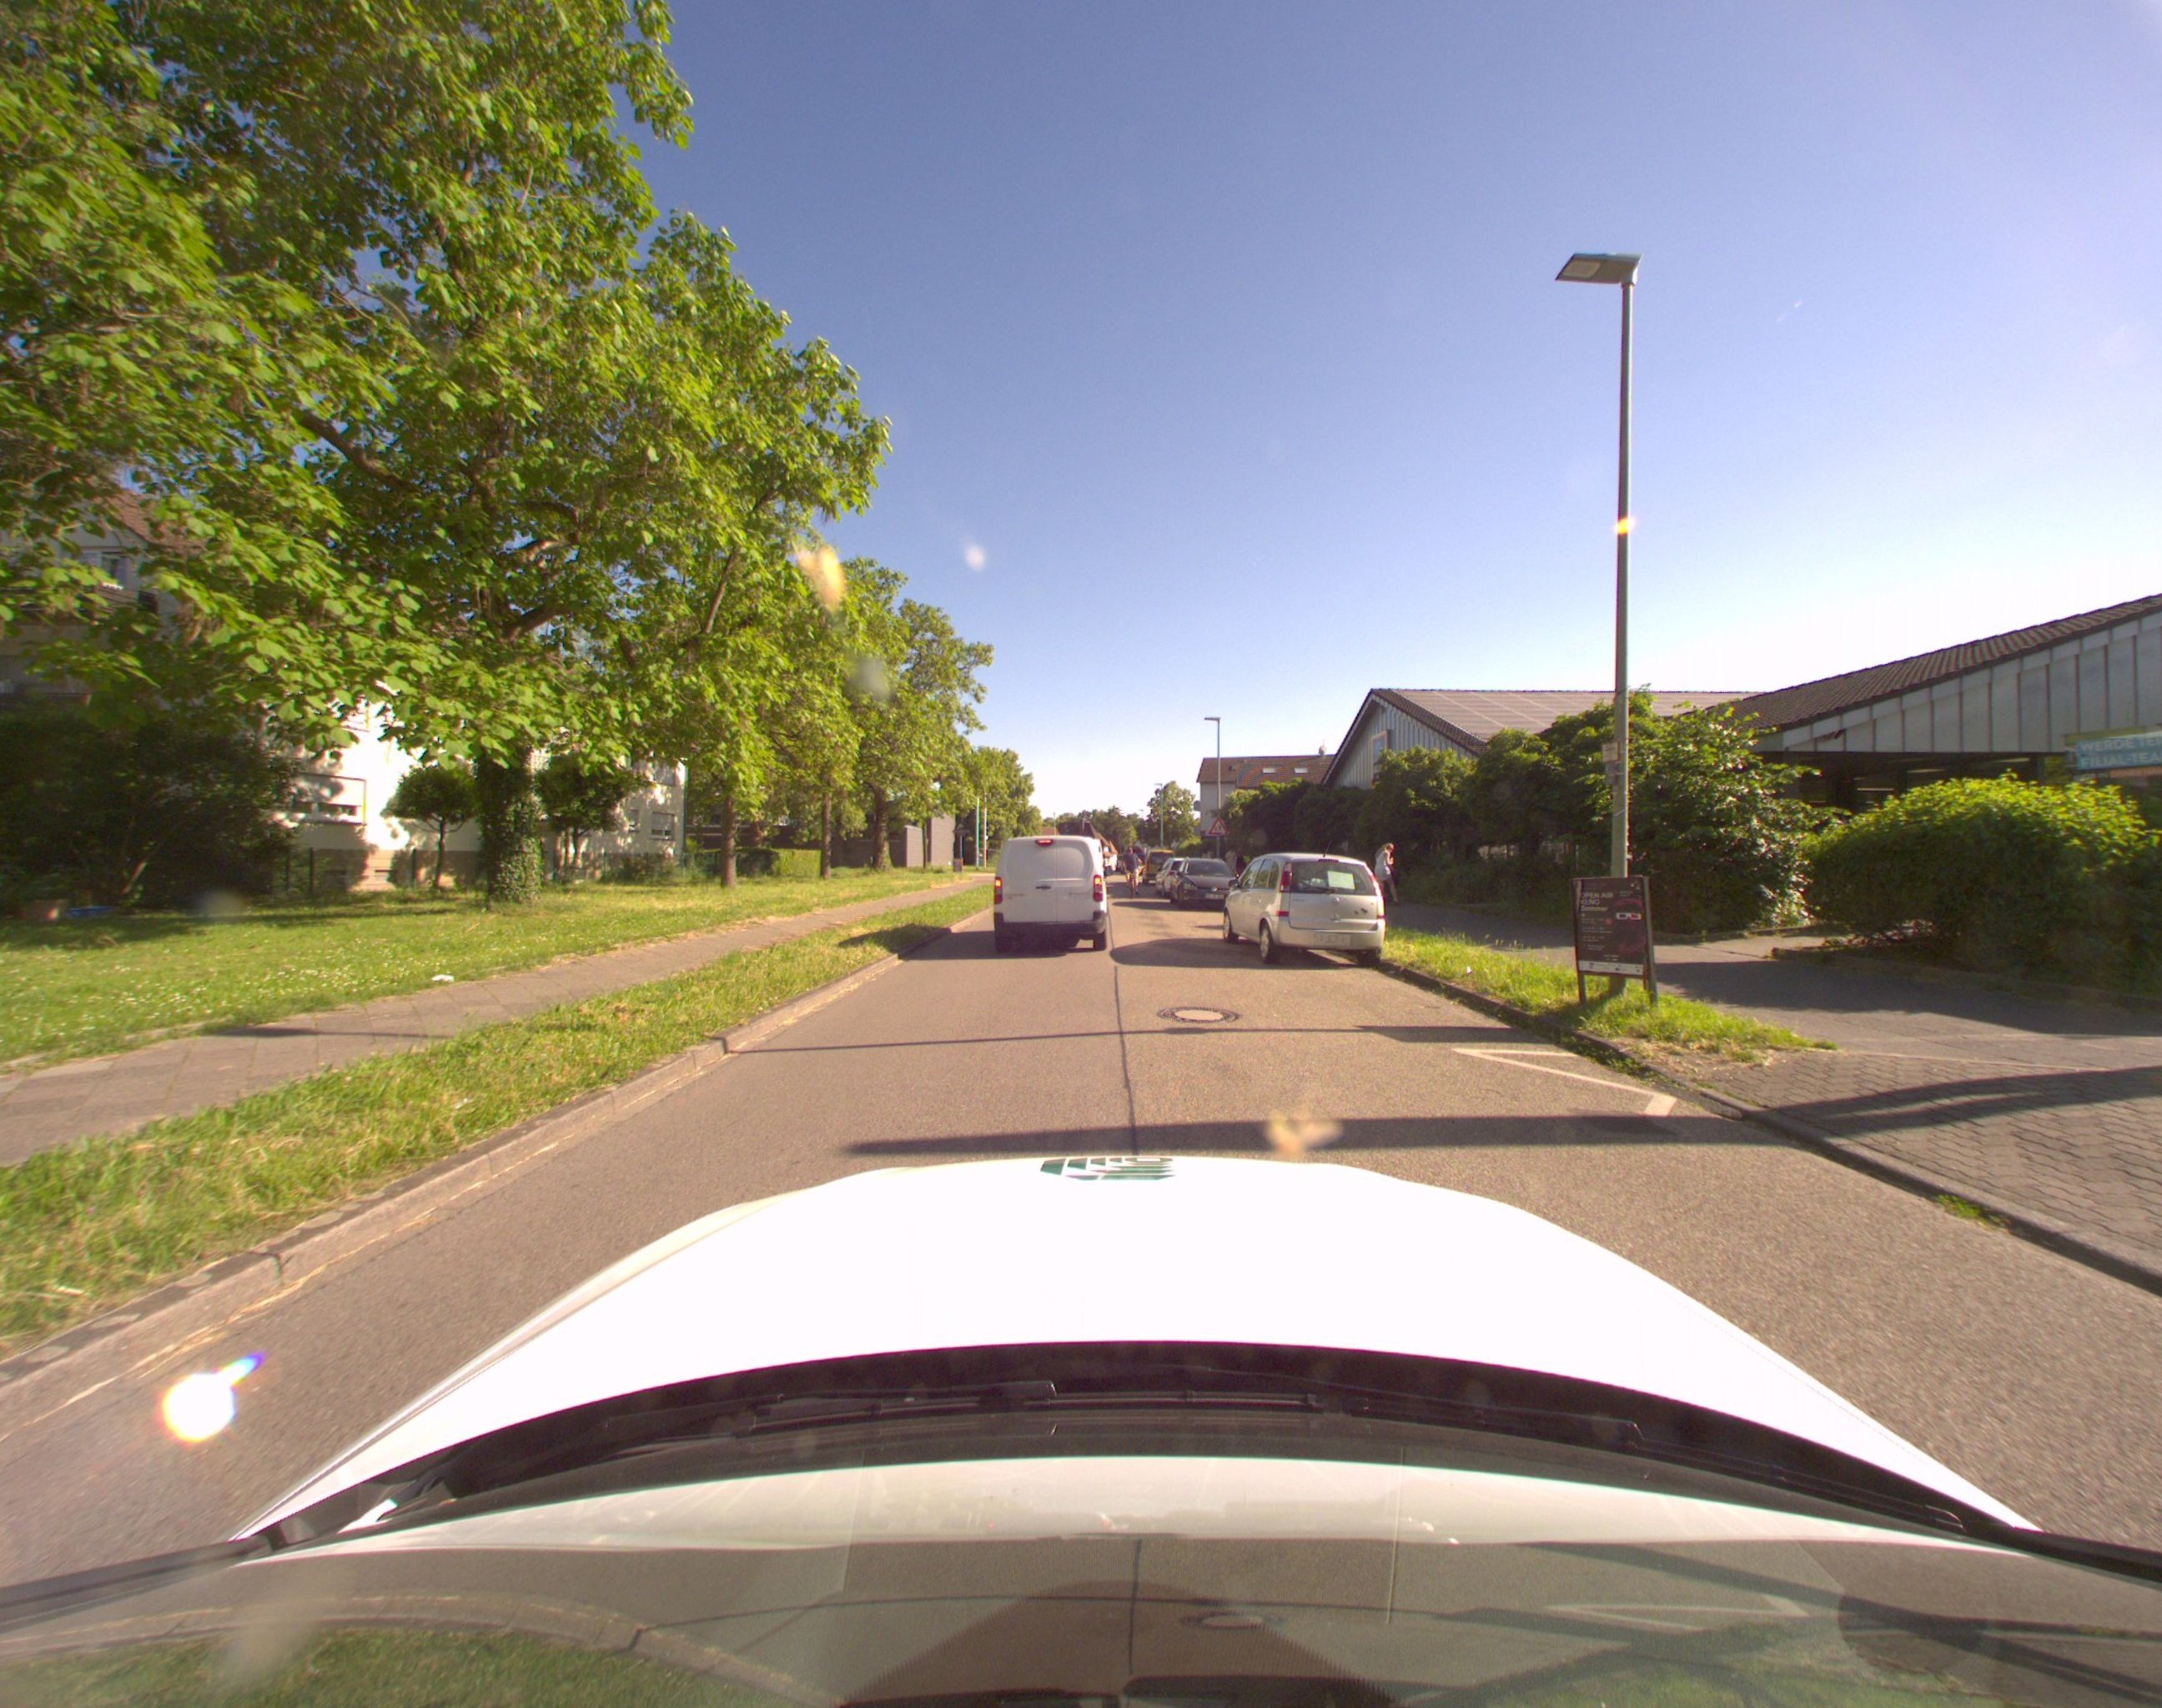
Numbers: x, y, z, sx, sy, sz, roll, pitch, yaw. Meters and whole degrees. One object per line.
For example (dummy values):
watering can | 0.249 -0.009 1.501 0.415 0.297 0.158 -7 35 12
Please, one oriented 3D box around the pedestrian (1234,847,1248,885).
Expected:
pedestrian | 7.055 0.529 35.954 0.564 1.637 0.547 0 0 6

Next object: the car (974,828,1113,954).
car | -0.481 0.542 14.380 1.985 1.882 4.293 0 0 3

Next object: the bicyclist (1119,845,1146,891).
bicyclist | 1.790 0.501 28.600 0.902 1.584 0.967 1 -1 2

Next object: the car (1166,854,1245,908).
car | 3.579 0.719 24.115 1.801 1.443 4.365 1 0 1

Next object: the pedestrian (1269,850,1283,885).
pedestrian | 9.043 0.616 37.856 0.564 1.637 0.547 0 0 6

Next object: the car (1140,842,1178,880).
car | 3.985 0.361 41.973 1.717 1.837 4.002 1 0 2

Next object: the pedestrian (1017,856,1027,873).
pedestrian | -4.980 0.897 69.005 0.505 1.446 0.643 3 0 34

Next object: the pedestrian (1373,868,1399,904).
pedestrian | 8.515 0.890 22.757 0.529 0.980 0.812 0 0 9

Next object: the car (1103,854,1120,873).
car | 3.549 1.077 94.848 1.798 2.069 3.999 2 -1 0

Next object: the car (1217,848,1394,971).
car | 3.421 0.785 13.185 1.674 1.599 4.027 3 -1 0

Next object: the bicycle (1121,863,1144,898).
bicycle | 1.794 0.920 28.578 0.783 1.138 2.281 0 0 2

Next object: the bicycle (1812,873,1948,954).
bicycle | 13.310 0.954 13.614 0.563 1.243 1.524 0 0 -25

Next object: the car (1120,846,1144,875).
car | 4.733 0.644 75.661 1.860 2.562 4.766 2 -1 0

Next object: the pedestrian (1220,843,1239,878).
pedestrian | 7.963 0.352 43.802 0.793 1.861 0.872 1 -1 -6

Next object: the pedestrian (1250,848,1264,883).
pedestrian | 8.230 0.548 38.121 0.564 1.637 0.547 0 0 6

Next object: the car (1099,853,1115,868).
car | 3.635 0.908 113.069 1.795 1.842 4.005 2 -1 5

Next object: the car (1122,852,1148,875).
car | 4.518 0.788 68.510 1.798 1.785 3.999 2 -1 0

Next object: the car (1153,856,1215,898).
car | 3.756 0.820 30.320 1.820 1.452 3.999 1 0 0

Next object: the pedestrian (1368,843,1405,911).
pedestrian | 8.228 0.606 21.936 0.794 1.782 0.811 0 0 9
